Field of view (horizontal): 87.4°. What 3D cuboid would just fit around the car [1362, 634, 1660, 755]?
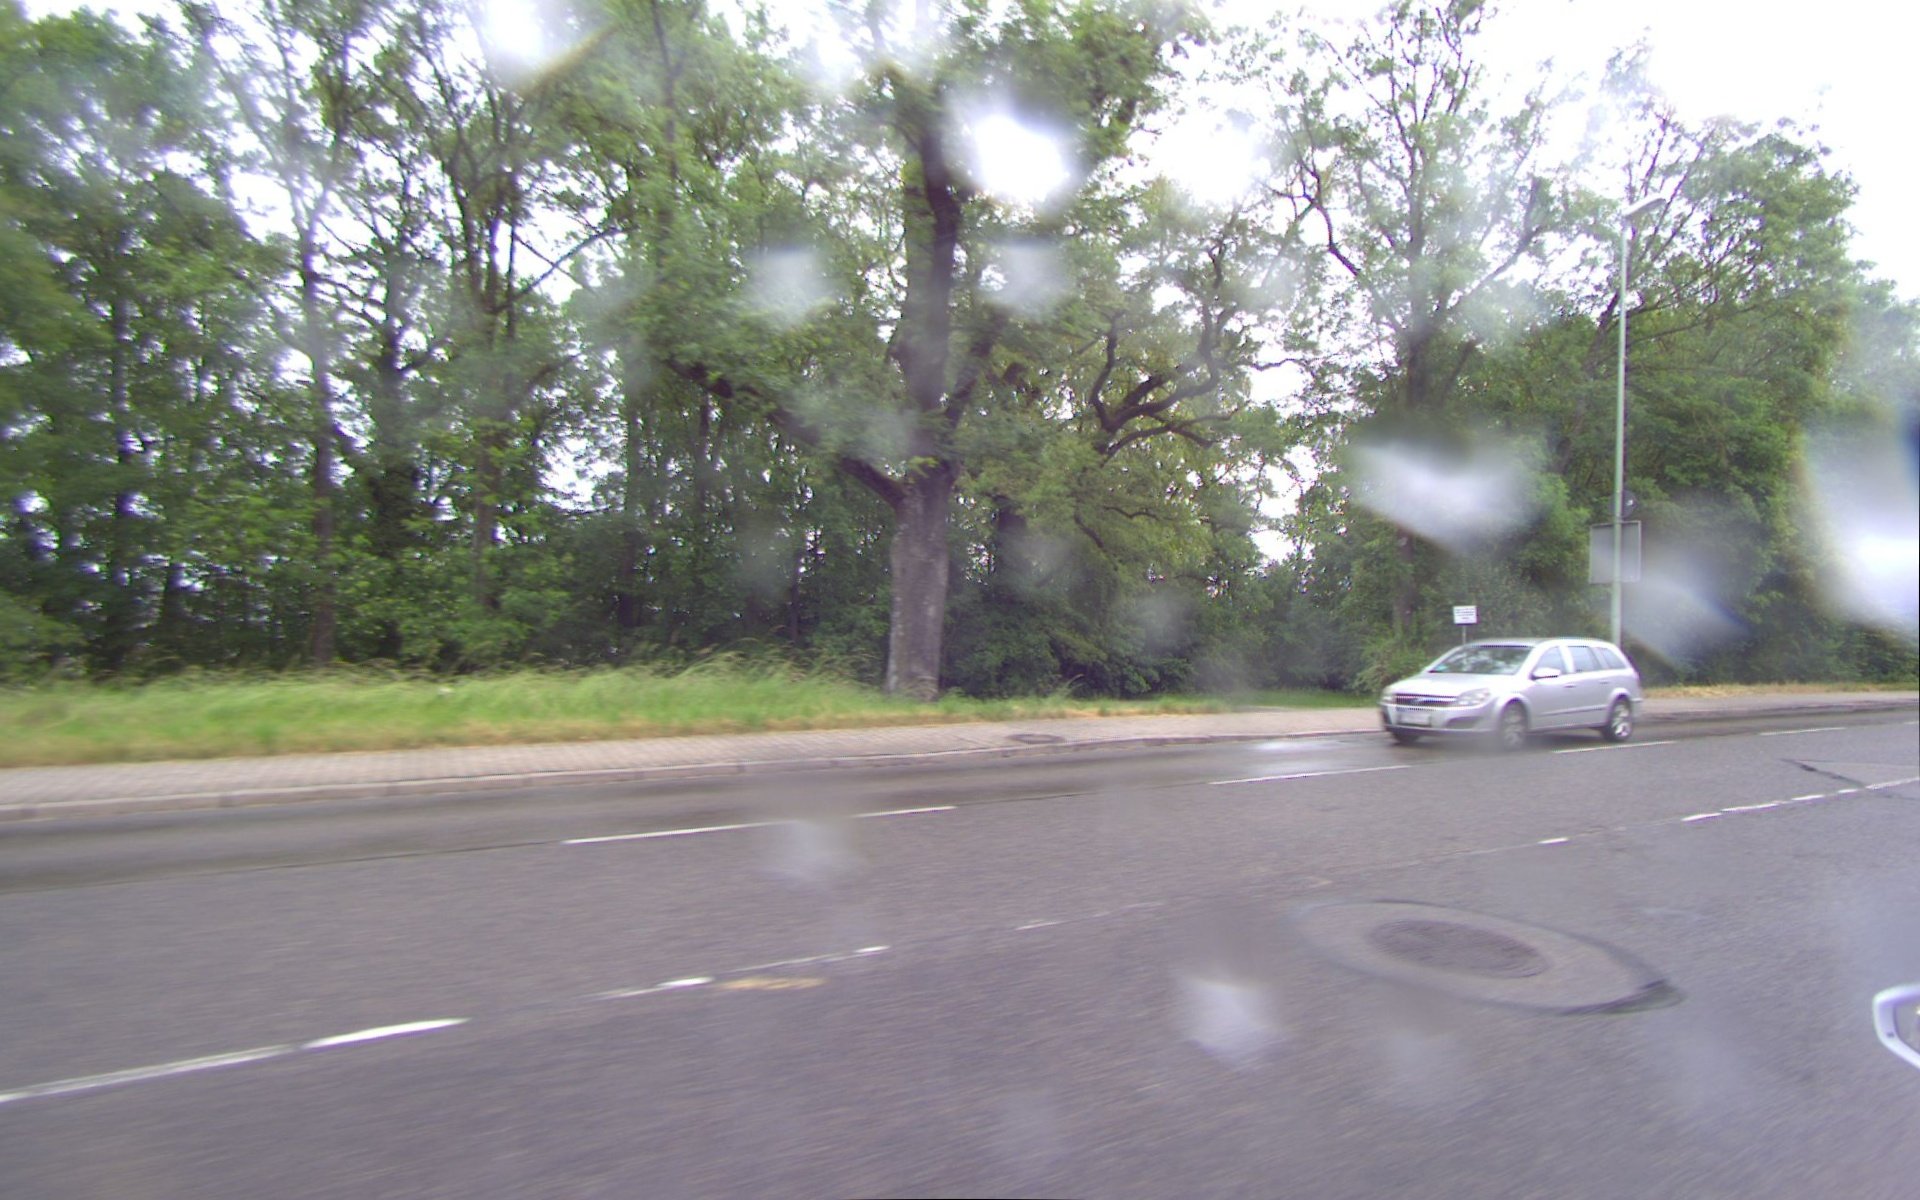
[{"bbox_3d":[7.903,1.271,14.313,4.400,1.502,1.682,2,-4,-30],"label":"car"}]
